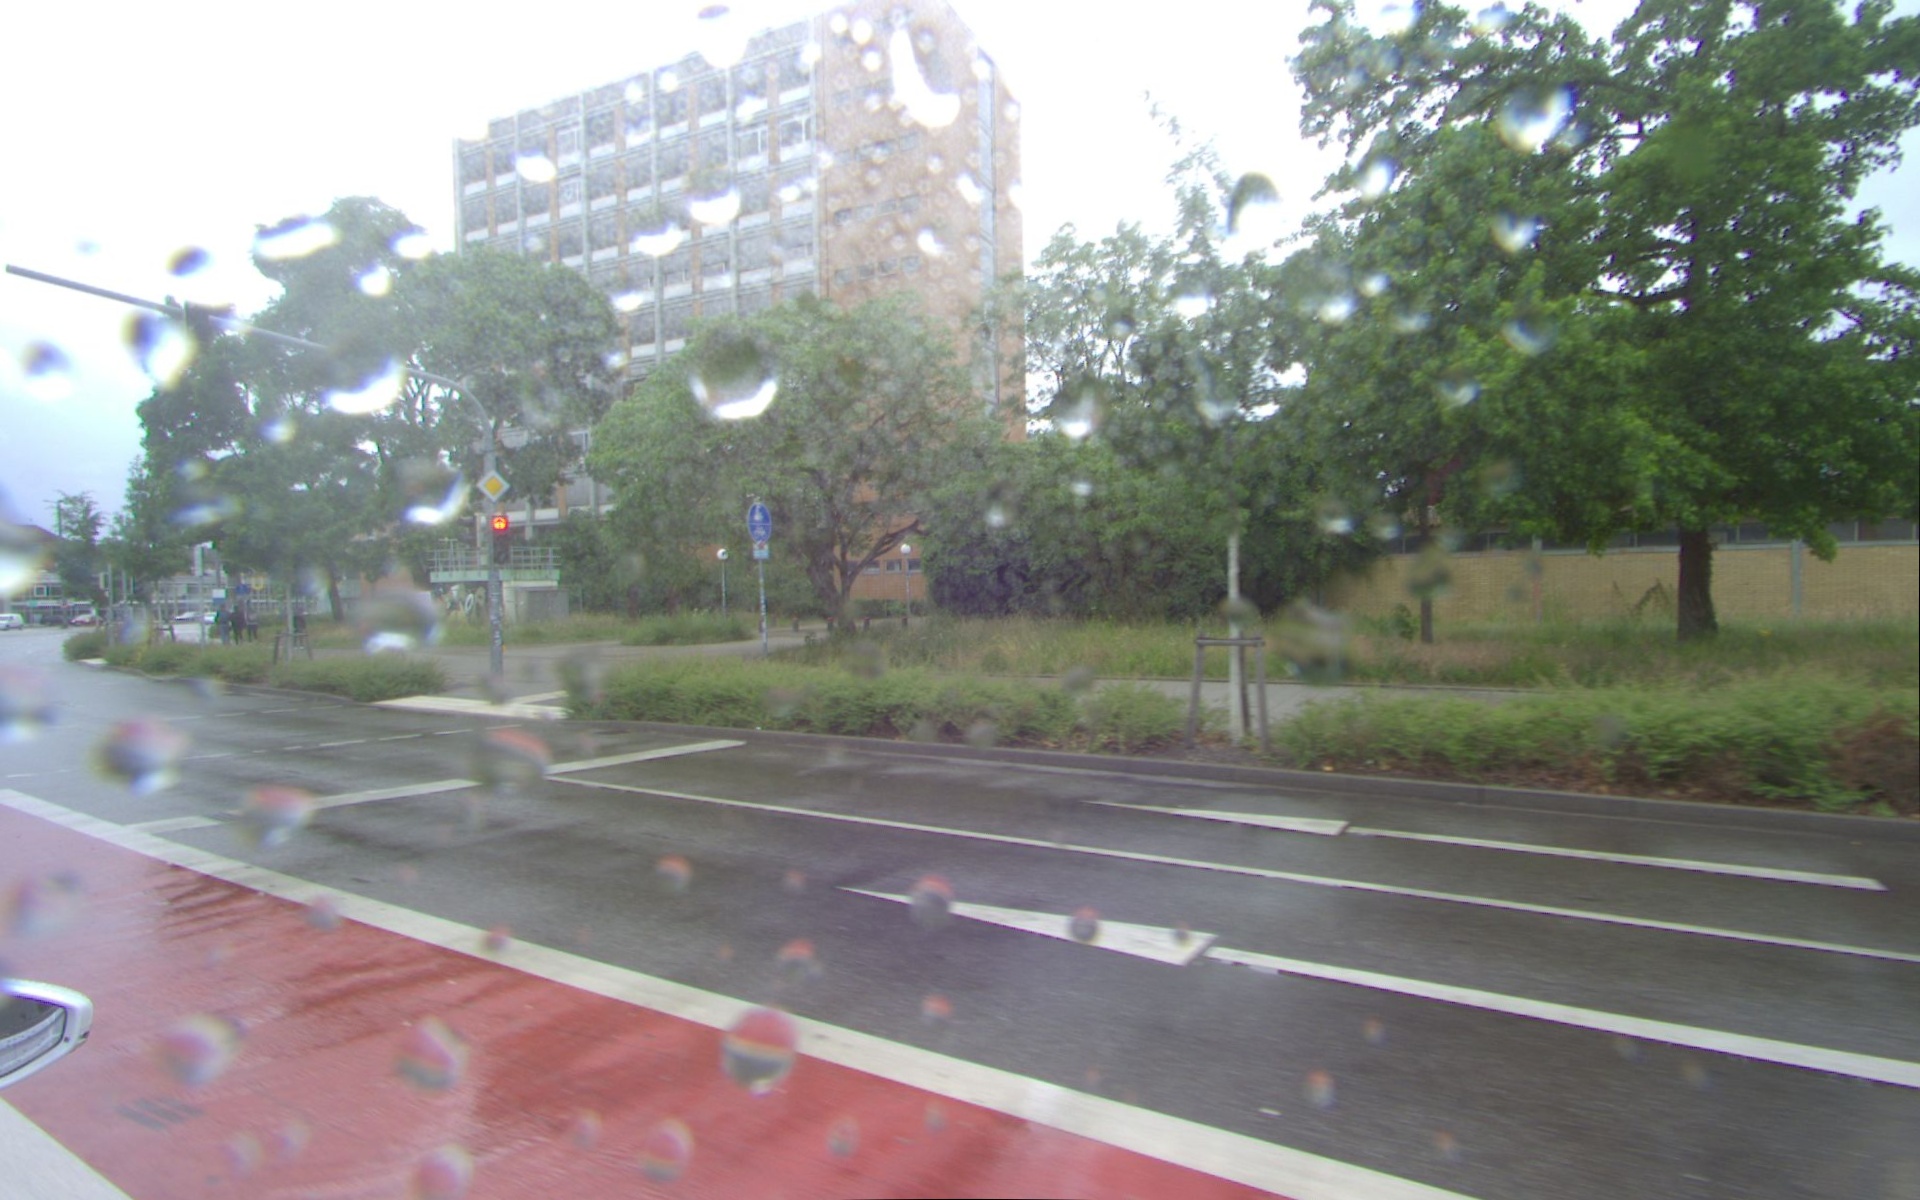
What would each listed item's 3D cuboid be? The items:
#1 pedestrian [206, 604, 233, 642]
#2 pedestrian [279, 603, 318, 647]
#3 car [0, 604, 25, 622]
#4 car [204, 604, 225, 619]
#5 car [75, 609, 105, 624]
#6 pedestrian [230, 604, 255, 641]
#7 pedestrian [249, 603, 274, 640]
[{"bbox_3d":[-32.008,0.987,43.271,0.926,1.609,0.749,0,1,44],"label":"pedestrian"},{"bbox_3d":[-24.866,0.941,37.634,0.926,1.609,1.016,0,1,44],"label":"pedestrian"},{"bbox_3d":[-103.139,1.373,108.311,1.768,1.883,4.141,-1,0,-27],"label":"car"},{"bbox_3d":[-88.400,1.336,118.821,1.772,1.665,4.131,-1,0,-34],"label":"car"},{"bbox_3d":[-103.789,1.942,119.490,1.768,1.665,4.029,-1,0,-26],"label":"car"},{"bbox_3d":[-31.468,0.973,43.912,0.926,1.609,0.699,0,1,44],"label":"pedestrian"},{"bbox_3d":[-31.139,0.964,44.630,0.926,1.609,0.699,0,1,44],"label":"pedestrian"}]
